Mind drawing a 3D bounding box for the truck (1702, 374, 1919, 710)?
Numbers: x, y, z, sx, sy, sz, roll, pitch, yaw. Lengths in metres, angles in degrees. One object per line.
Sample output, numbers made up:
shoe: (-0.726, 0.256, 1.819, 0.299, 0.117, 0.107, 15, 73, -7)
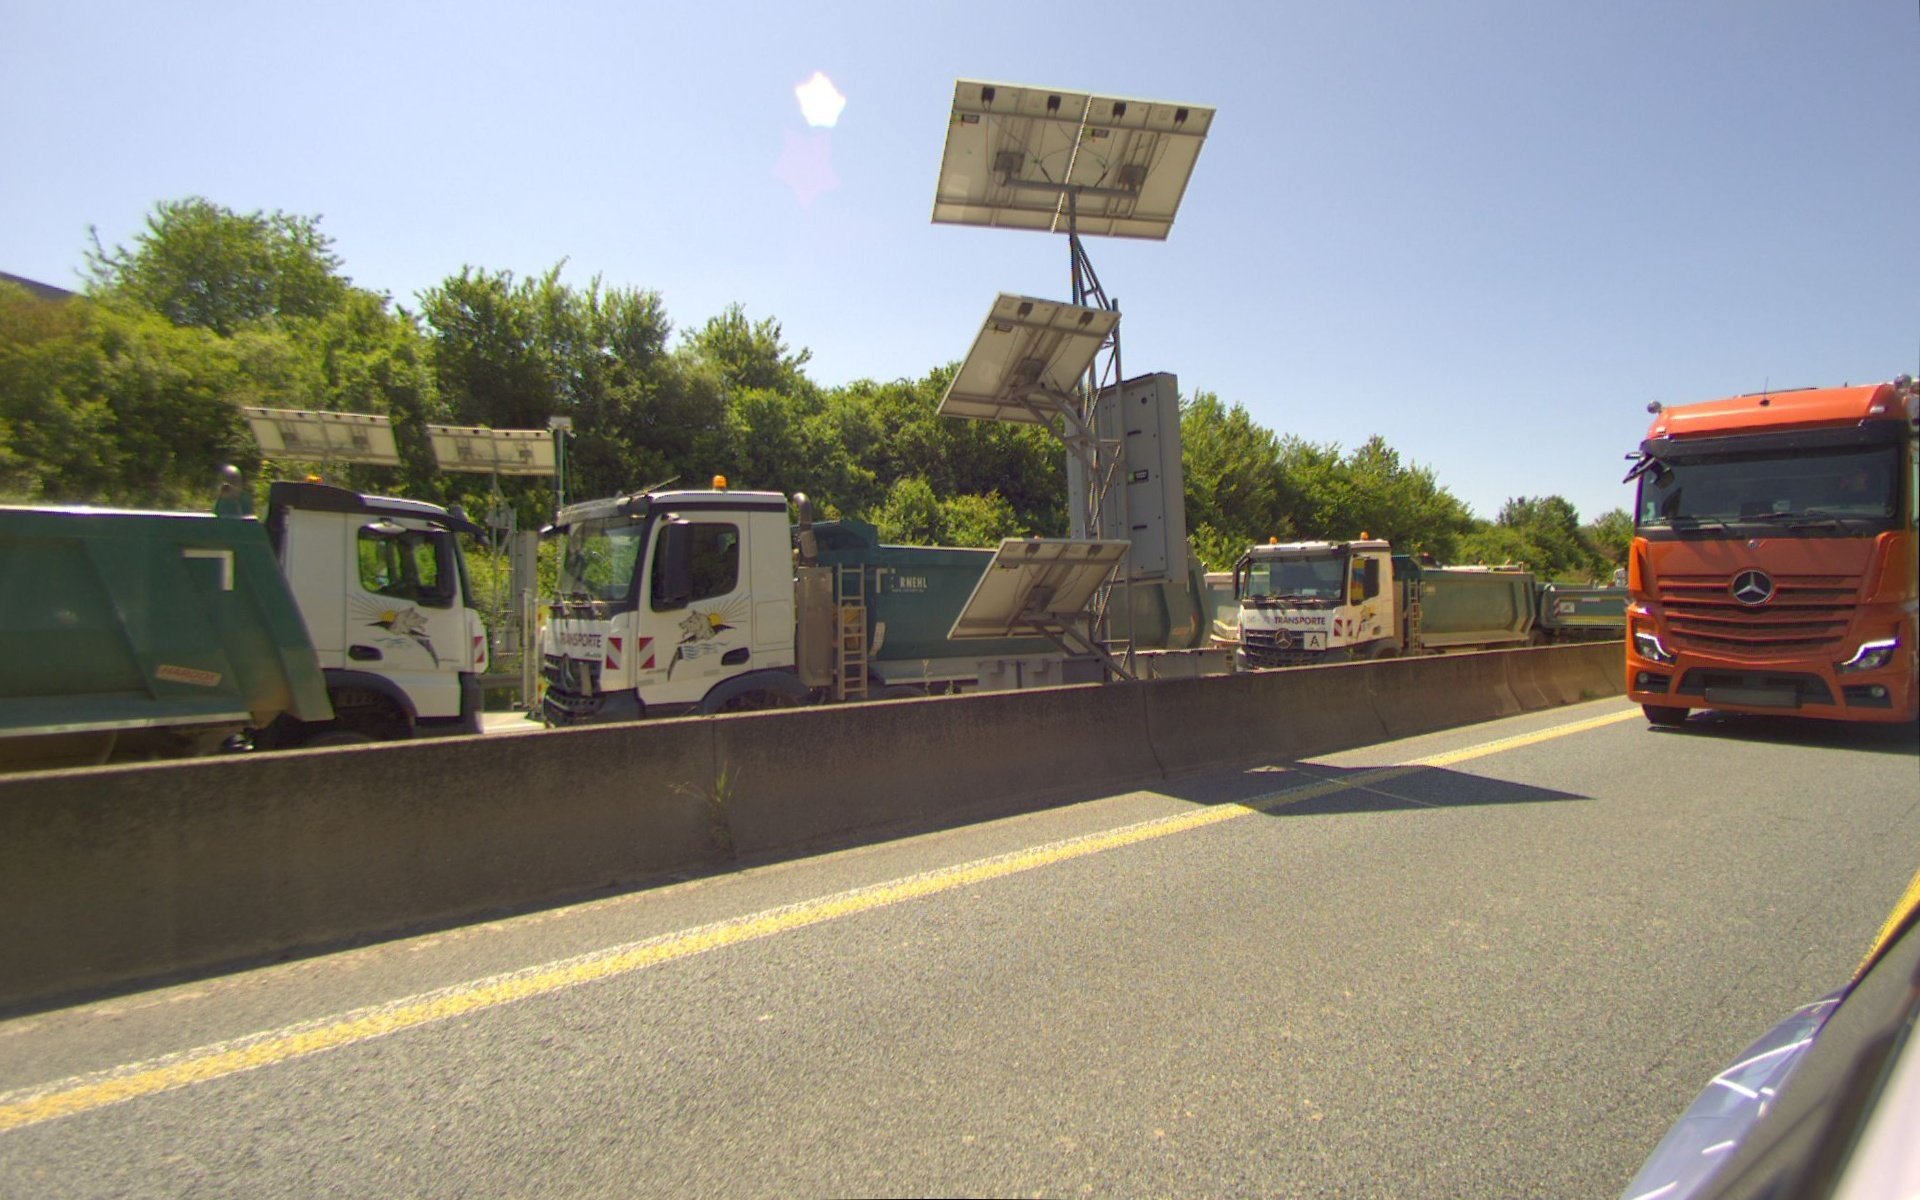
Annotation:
truck: (16.032, -0.774, 17.087, 12.986, 4.061, 2.687, -1, 0, -40)

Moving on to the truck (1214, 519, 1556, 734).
truck: (9.201, 0.417, 21.068, 9.435, 3.602, 2.691, 0, 0, -41)

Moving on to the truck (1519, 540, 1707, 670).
truck: (20.906, 0.128, 32.106, 9.436, 3.602, 2.542, 0, 0, -41)

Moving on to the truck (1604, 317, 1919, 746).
truck: (10.802, -0.682, 12.695, 6.606, 4.061, 2.687, -1, 0, -40)

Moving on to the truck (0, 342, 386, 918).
truck: (-8.687, 0.196, 5.692, 9.165, 3.602, 2.691, 0, 0, -42)

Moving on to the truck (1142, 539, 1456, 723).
truck: (8.358, 0.592, 23.969, 9.436, 3.602, 2.691, 0, 0, -41)

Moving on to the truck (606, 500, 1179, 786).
truck: (-0.516, 0.492, 16.223, 9.433, 3.420, 2.692, 0, 0, -40)

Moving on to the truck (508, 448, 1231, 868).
truck: (-0.438, 0.475, 12.736, 9.240, 3.602, 2.692, 0, 0, -40)

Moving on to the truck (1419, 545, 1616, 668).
truck: (18.795, 0.175, 33.738, 9.435, 3.602, 2.691, 0, 0, -41)

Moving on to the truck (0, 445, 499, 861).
truck: (-9.366, 0.436, 8.794, 9.438, 3.420, 2.690, 0, 0, -42)
